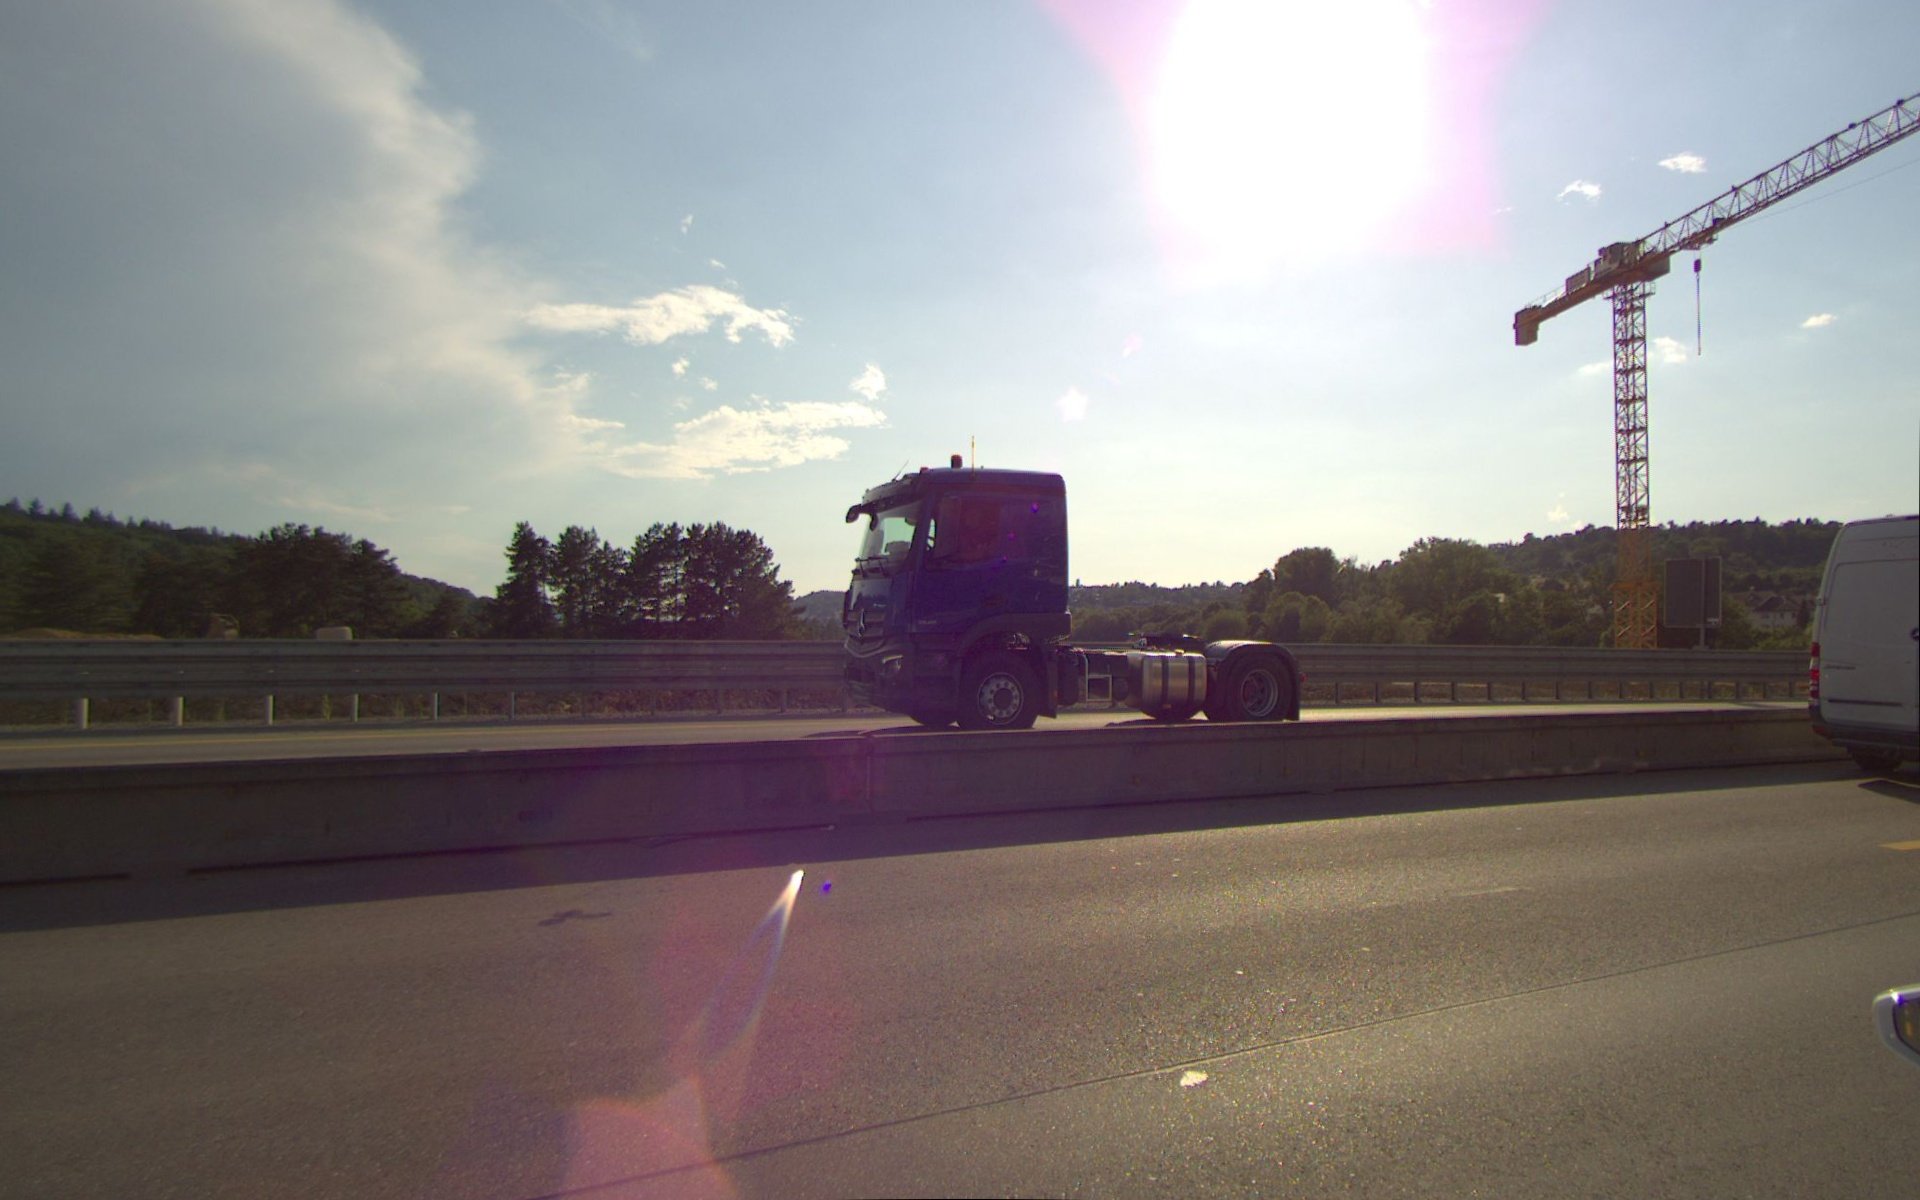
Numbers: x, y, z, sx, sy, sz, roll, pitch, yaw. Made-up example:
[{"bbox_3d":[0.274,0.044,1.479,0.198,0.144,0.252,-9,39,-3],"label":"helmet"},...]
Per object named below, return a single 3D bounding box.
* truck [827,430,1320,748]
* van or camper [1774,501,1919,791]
[{"bbox_3d":[1.449,-0.035,13.322,5.864,3.441,2.892,1,-1,-22],"label":"truck"},{"bbox_3d":[11.397,0.482,10.474,5.818,2.654,1.990,1,-1,-22],"label":"van or camper"}]
